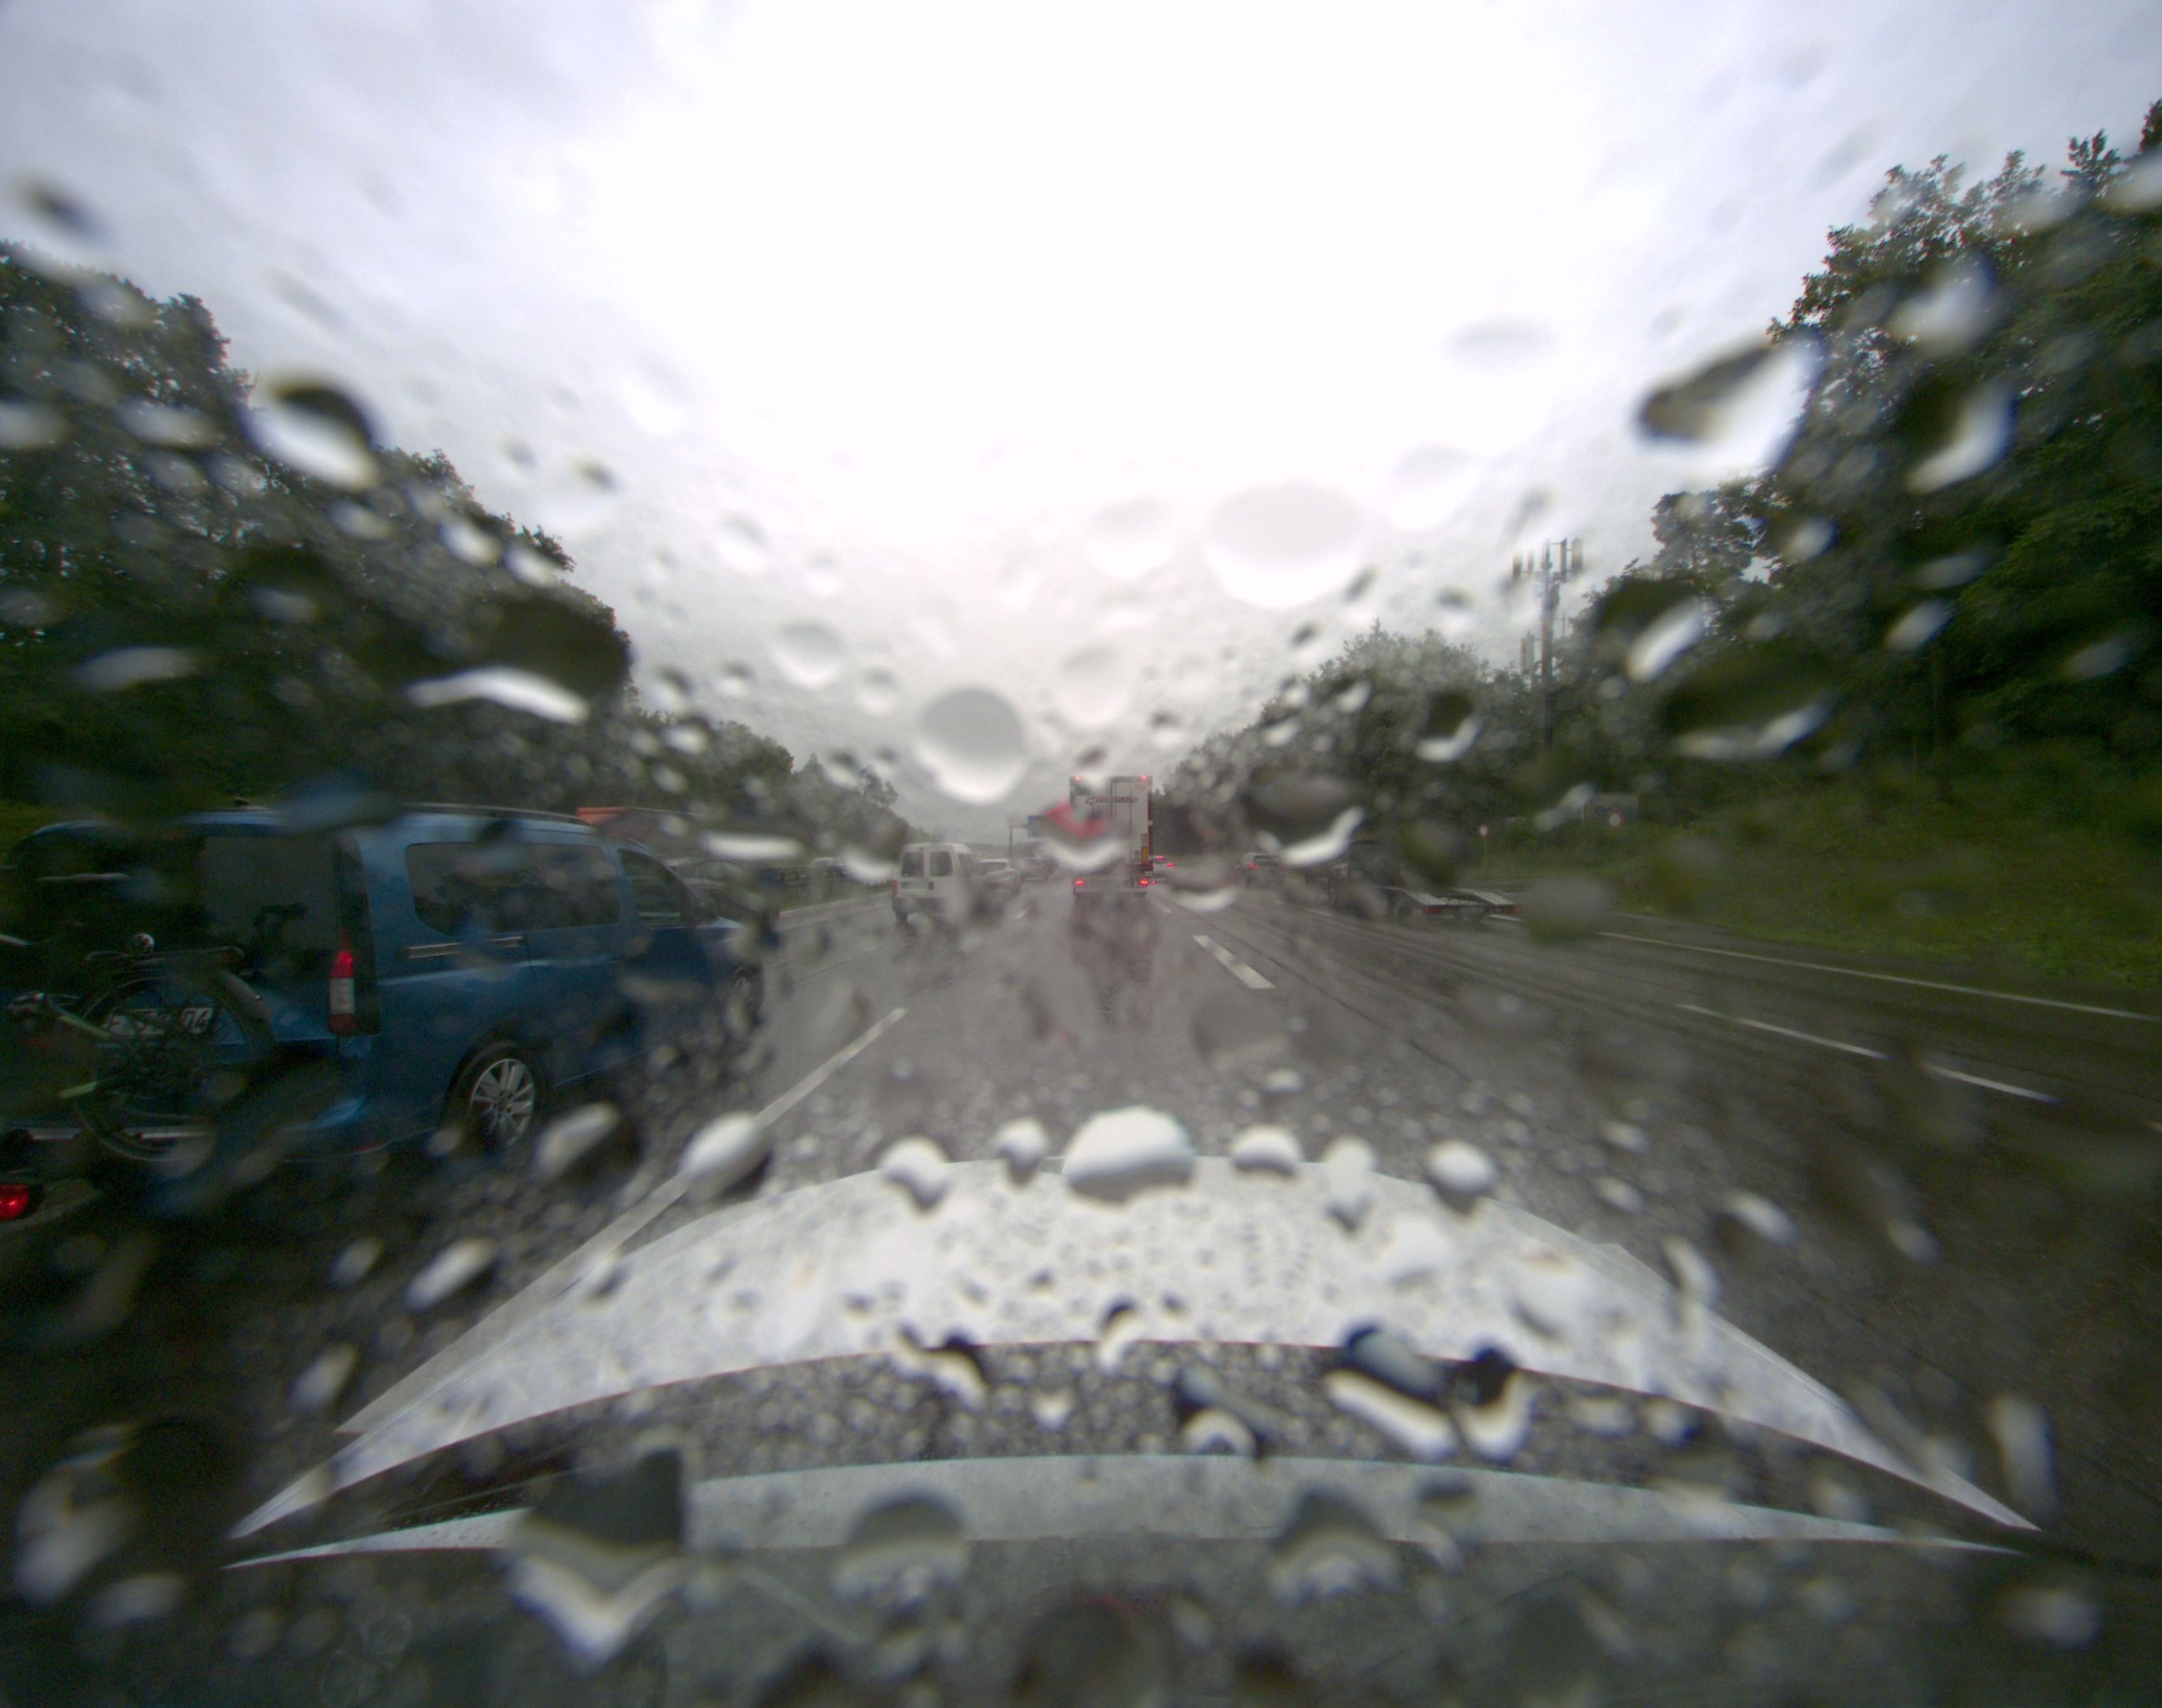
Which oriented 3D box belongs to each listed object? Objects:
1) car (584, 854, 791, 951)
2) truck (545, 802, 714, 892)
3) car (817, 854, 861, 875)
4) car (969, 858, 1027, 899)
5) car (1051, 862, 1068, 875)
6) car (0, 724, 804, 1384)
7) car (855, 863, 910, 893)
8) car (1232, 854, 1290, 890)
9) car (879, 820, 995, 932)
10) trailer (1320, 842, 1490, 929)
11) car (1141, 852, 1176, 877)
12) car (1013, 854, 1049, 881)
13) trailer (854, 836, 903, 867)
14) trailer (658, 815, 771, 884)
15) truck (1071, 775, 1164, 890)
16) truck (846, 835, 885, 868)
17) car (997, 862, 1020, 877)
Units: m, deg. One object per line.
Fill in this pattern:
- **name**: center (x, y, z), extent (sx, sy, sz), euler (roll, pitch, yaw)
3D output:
- **car**: center (-7.398, 0.806, 15.895), extent (1.839, 1.591, 4.466), euler (-1, 0, 0)
- **truck**: center (-22.096, -0.311, 40.810), extent (2.694, 3.931, 10.028), euler (-1, 0, 1)
- **car**: center (-17.549, 0.733, 59.301), extent (1.830, 1.497, 4.332), euler (-1, 0, 1)
- **car**: center (-3.433, 0.972, 34.582), extent (1.838, 1.591, 4.075), euler (-1, 0, 3)
- **car**: center (-2.375, 1.548, 90.602), extent (1.840, 1.330, 4.465), euler (-1, 0, -1)
- **car**: center (-3.803, 0.581, 4.918), extent (2.260, 1.912, 5.020), euler (-1, 0, 3)
- **car**: center (-11.382, 1.339, 47.114), extent (2.085, 1.504, 4.750), euler (-3, 0, -2)
- **car**: center (8.515, 0.796, 38.992), extent (1.981, 1.583, 4.772), euler (-1, 0, 3)
- **car**: center (-3.600, 0.499, 21.437), extent (2.206, 2.573, 5.013), euler (-1, 0, -1)
- **trailer**: center (7.137, 0.613, 18.621), extent (2.233, 1.714, 5.089), euler (-1, 0, 5)
- **car**: center (4.572, 0.612, 48.688), extent (1.882, 1.425, 4.486), euler (-1, 0, 3)
- **car**: center (-3.196, 0.840, 52.683), extent (1.838, 1.591, 4.470), euler (-1, 0, 3)
- **trailer**: center (-26.458, -0.277, 107.237), extent (3.015, 3.818, 13.558), euler (-1, 0, 0)
- **trailer**: center (-22.021, -0.254, 49.619), extent (2.674, 3.818, 9.006), euler (-1, 0, 0)
- **truck**: center (1.334, -0.623, 30.987), extent (2.861, 3.562, 11.306), euler (-1, -1, 2)
- **truck**: center (-26.476, -0.297, 100.199), extent (3.010, 3.818, 6.265), euler (-1, 0, 1)
- **car**: center (-6.982, 1.462, 78.351), extent (1.840, 1.330, 4.465), euler (-1, 0, -1)
